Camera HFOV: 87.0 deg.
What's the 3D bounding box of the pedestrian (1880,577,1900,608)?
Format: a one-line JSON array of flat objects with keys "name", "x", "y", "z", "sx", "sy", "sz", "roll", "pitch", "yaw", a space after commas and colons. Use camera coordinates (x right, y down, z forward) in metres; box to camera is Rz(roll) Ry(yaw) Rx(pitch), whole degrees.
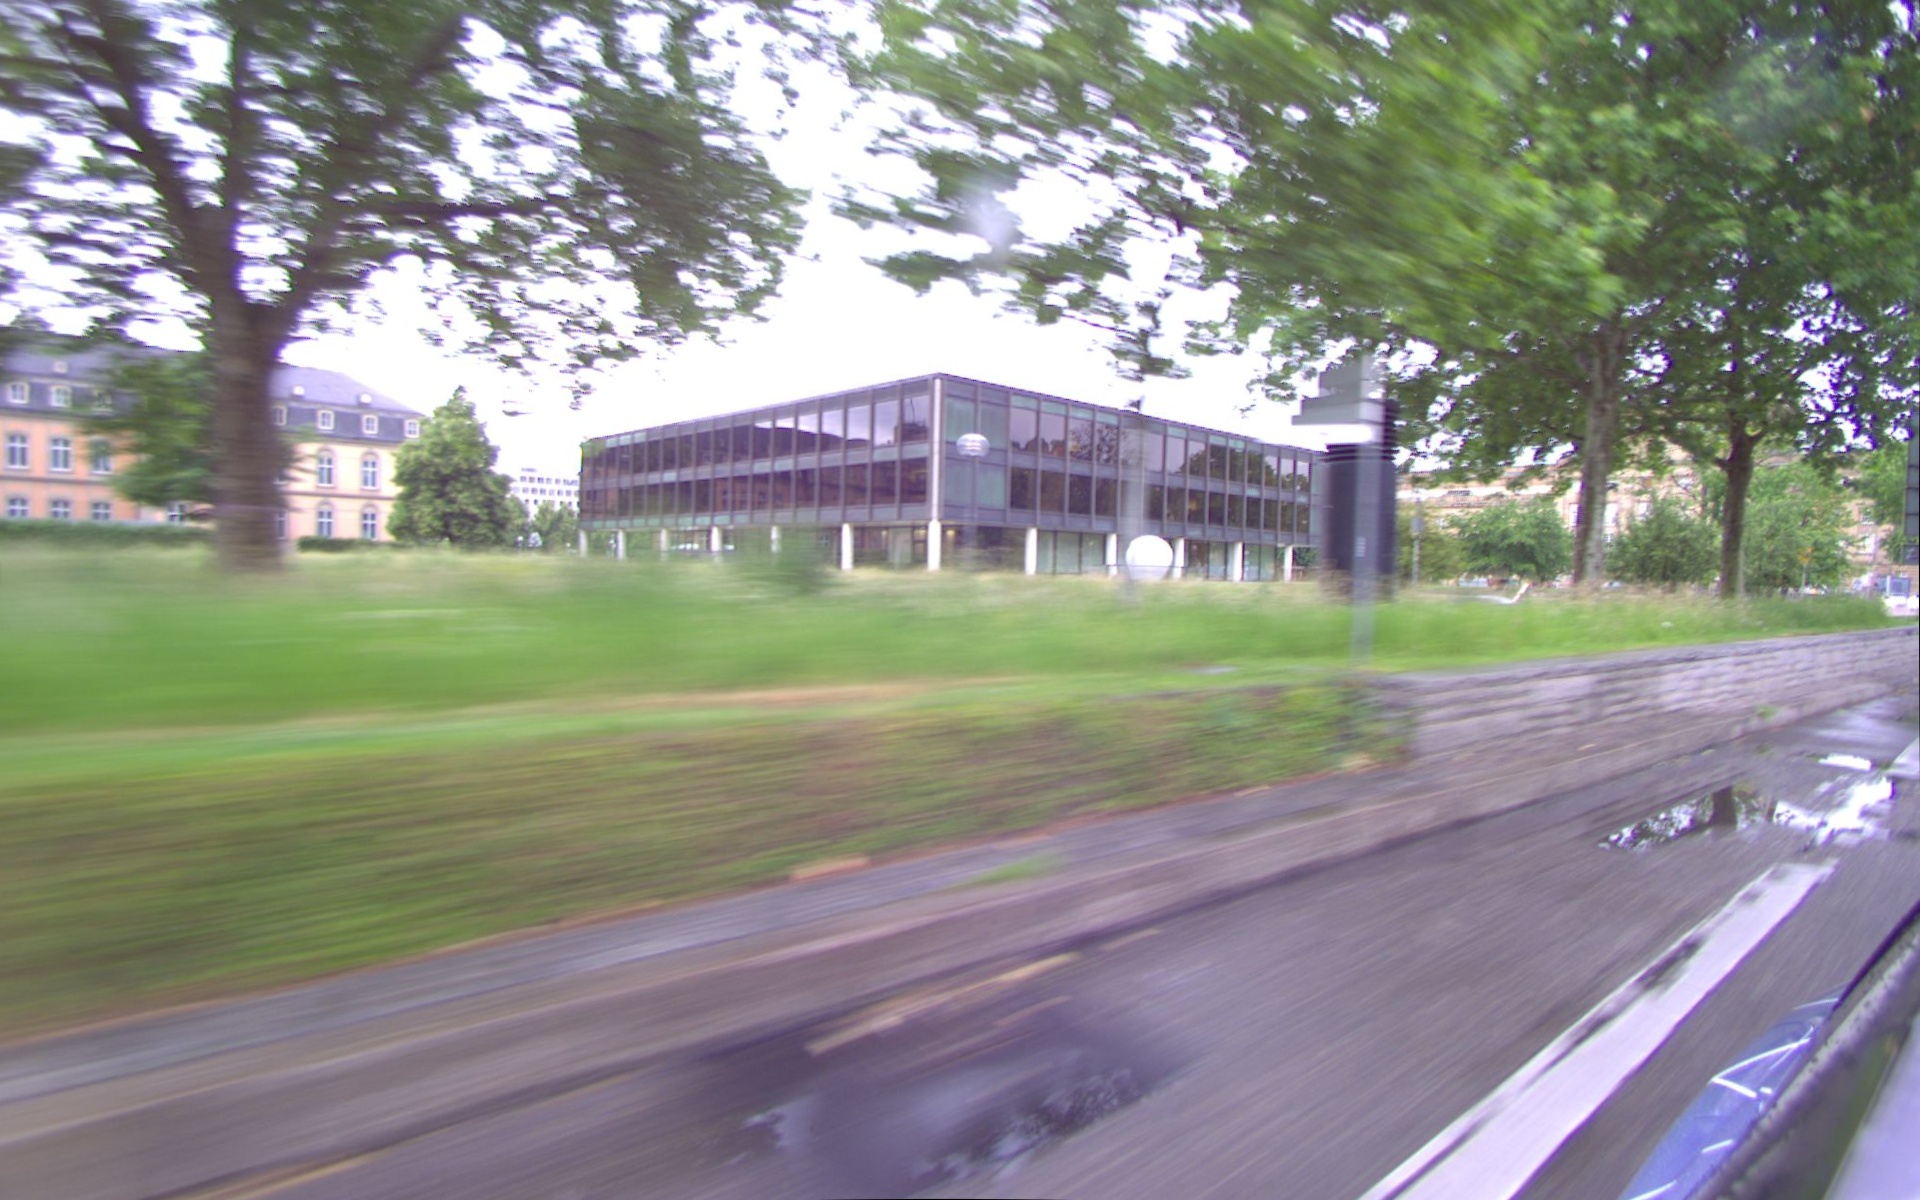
[{"name": "pedestrian", "x": 51.945, "y": -0.405, "z": 56.509, "sx": 0.666, "sy": 1.685, "sz": 0.582, "roll": 3, "pitch": 3, "yaw": 33}]
